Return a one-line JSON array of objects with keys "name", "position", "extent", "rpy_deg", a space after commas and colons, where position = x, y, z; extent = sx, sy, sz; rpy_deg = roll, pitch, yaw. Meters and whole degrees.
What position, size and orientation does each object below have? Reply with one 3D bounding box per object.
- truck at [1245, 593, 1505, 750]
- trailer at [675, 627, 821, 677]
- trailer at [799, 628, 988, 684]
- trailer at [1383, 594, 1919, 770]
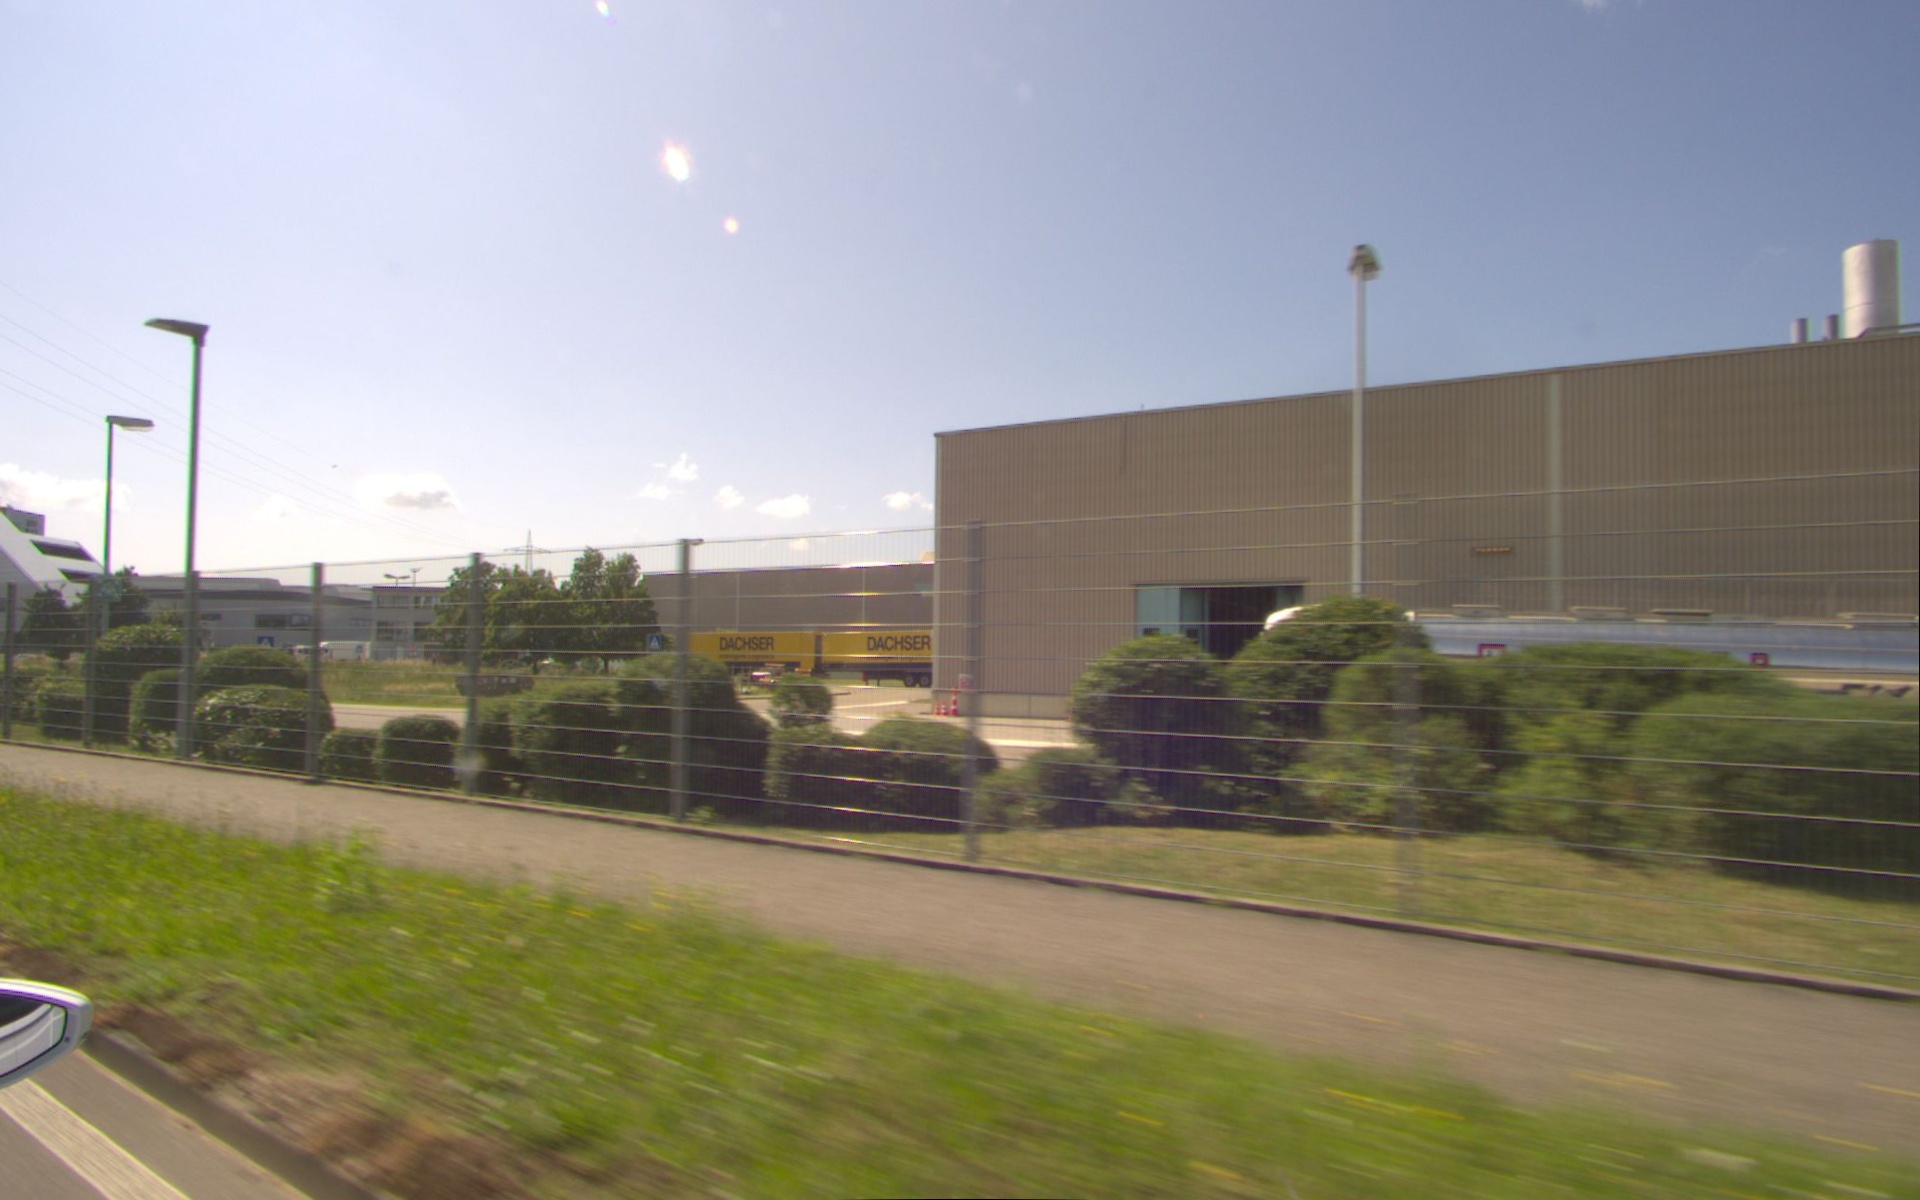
[{"name": "truck", "position": [11.452, 1.870, 28.001], "extent": [6.301, 3.916, 3.597], "rpy_deg": [0, -2, 24]}, {"name": "trailer", "position": [-17.287, 4.195, 81.187], "extent": [12.552, 3.812, 2.919], "rpy_deg": [-1, -3, 27]}, {"name": "trailer", "position": [-5.167, 4.079, 74.692], "extent": [14.827, 3.888, 2.935], "rpy_deg": [-1, -3, 29]}, {"name": "trailer", "position": [17.220, 1.858, 25.155], "extent": [12.039, 3.783, 3.592], "rpy_deg": [0, -2, 26]}]
